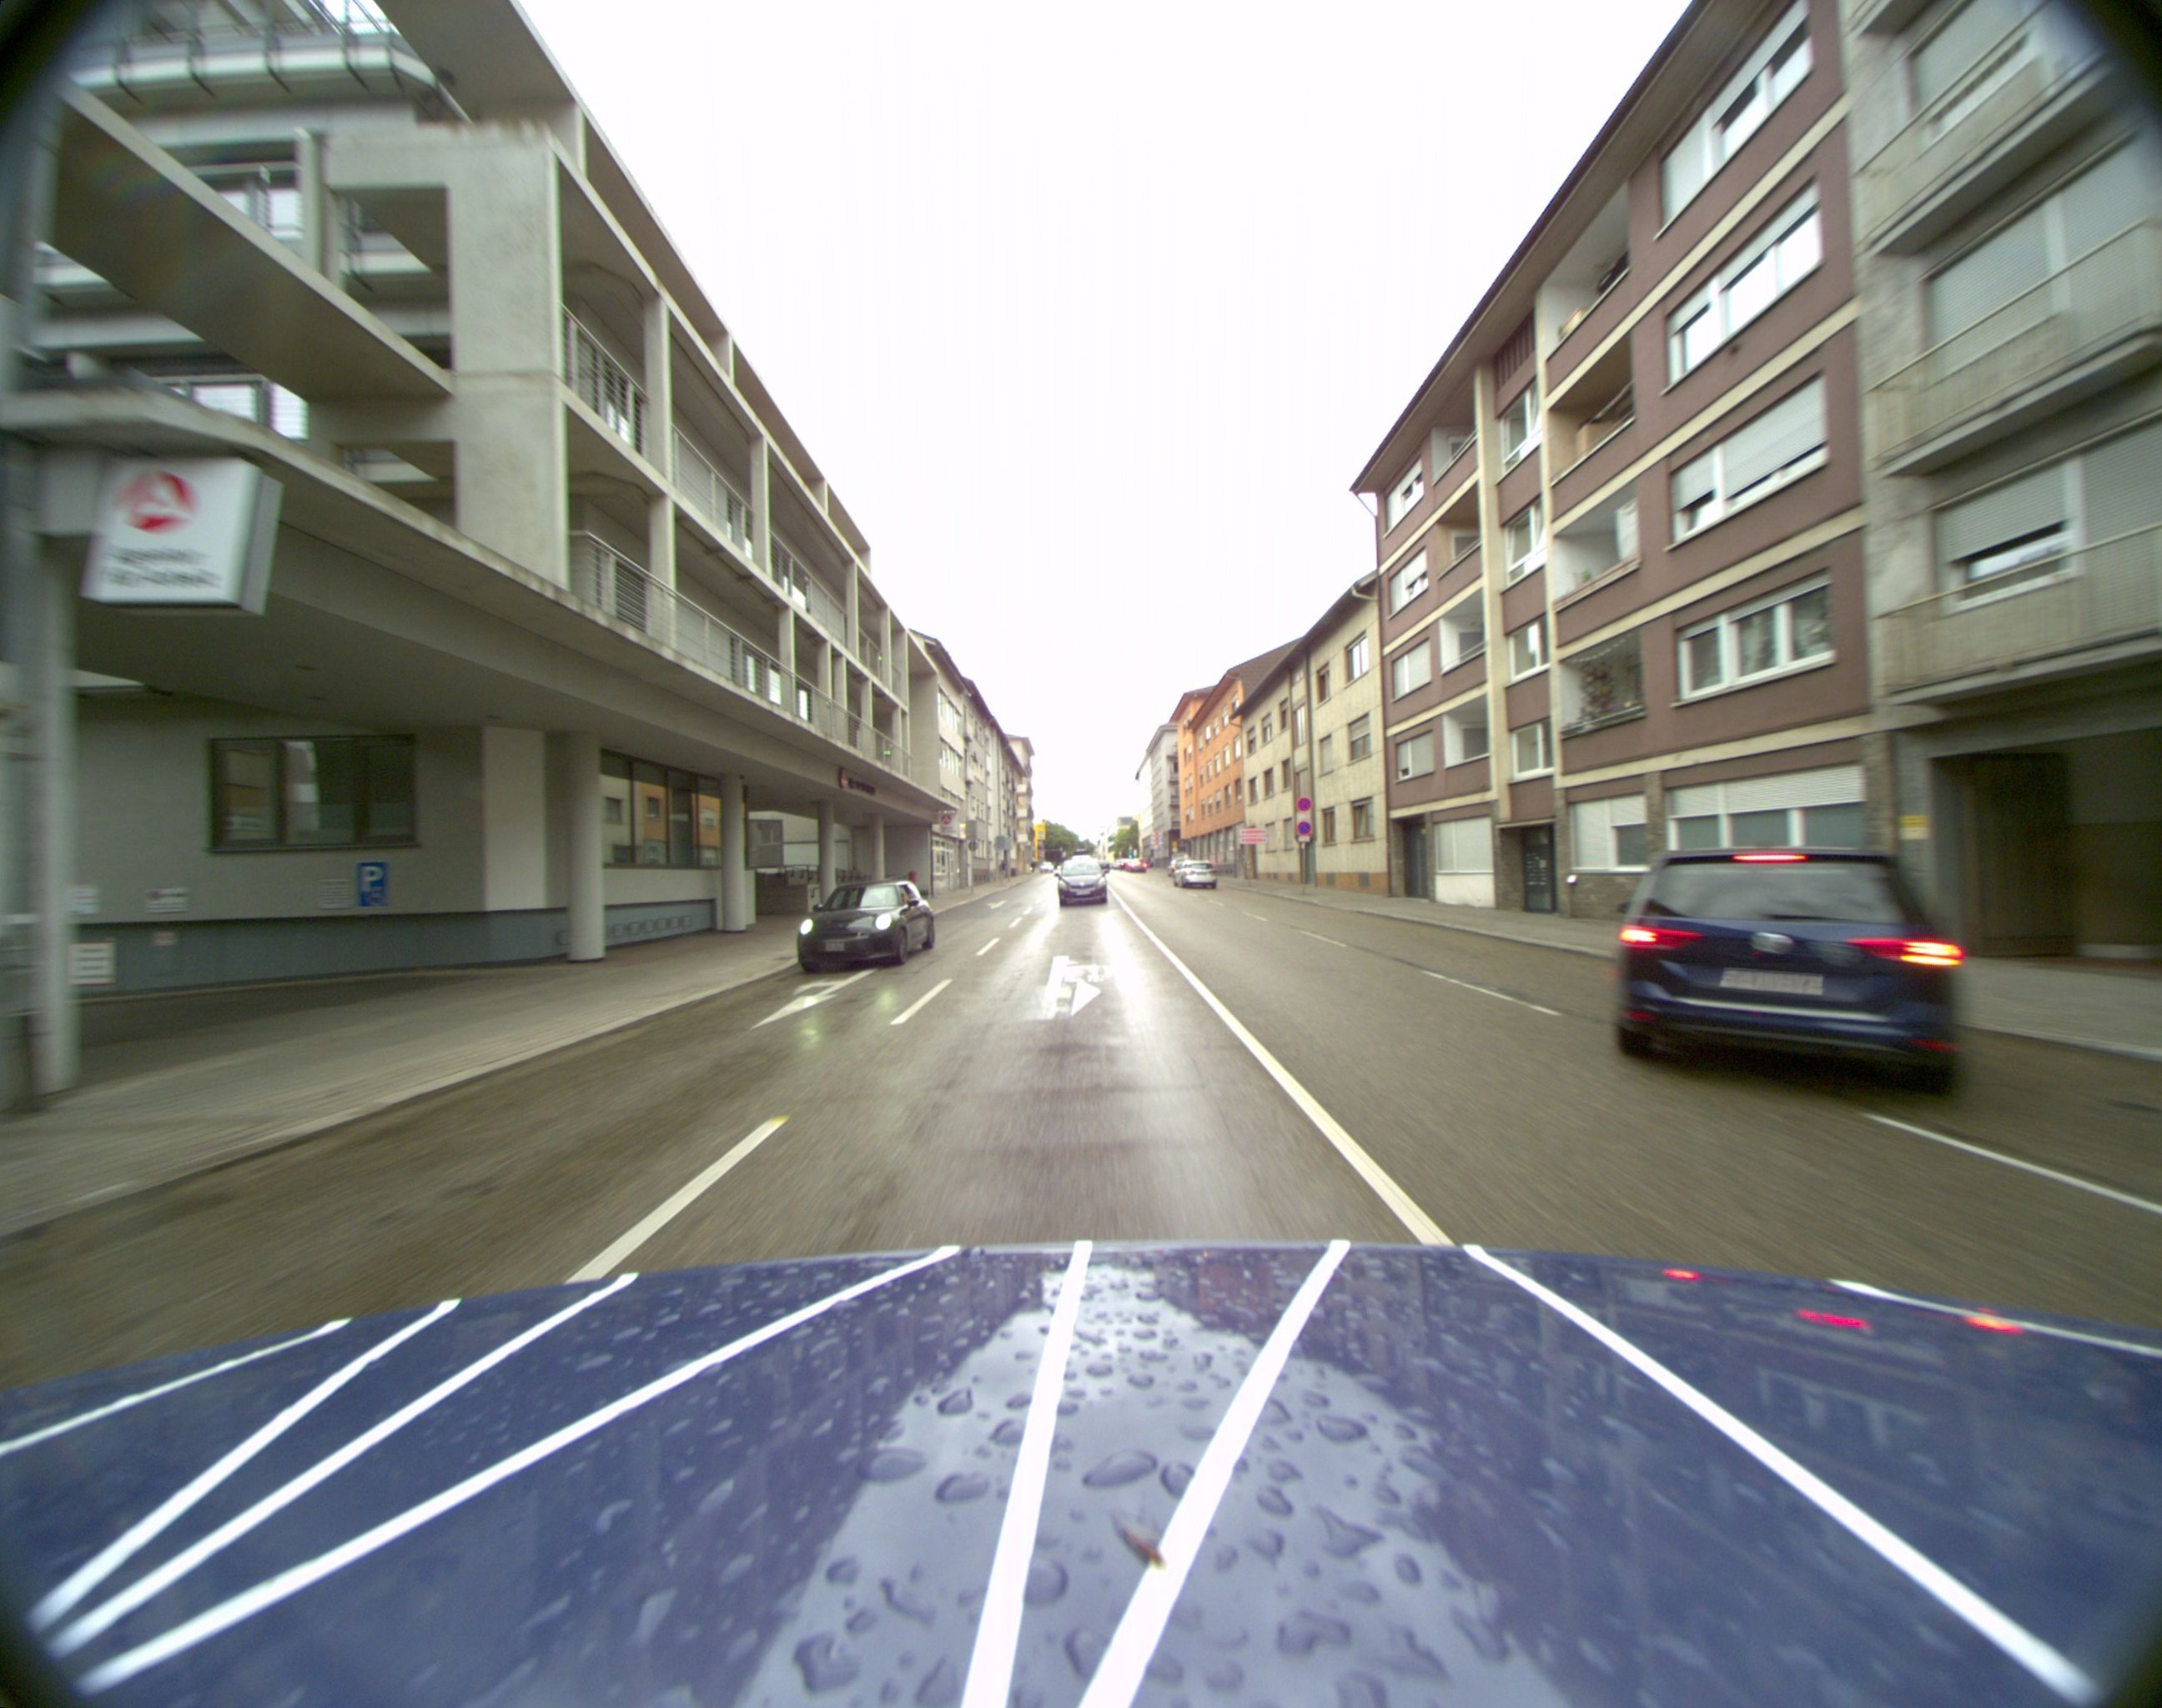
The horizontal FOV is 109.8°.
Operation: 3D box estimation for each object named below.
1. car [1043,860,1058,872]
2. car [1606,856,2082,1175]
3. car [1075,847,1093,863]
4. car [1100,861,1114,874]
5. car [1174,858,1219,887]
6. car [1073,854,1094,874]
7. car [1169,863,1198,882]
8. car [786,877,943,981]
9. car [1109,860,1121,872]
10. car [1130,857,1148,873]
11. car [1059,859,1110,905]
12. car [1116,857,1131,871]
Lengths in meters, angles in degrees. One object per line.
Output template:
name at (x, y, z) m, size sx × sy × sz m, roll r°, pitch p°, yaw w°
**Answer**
car at (-4.327, 1.672, 107.356) m, size 1.721 × 1.652 × 3.679 m, roll -3°, pitch 0°, yaw 2°
car at (5.660, 0.867, 6.249) m, size 1.994 × 1.566 × 4.317 m, roll -2°, pitch 0°, yaw 37°
car at (0.382, 0.097, 84.987) m, size 1.851 × 1.652 × 3.679 m, roll -3°, pitch 0°, yaw 2°
car at (3.481, 1.814, 102.055) m, size 1.721 × 1.652 × 3.679 m, roll -3°, pitch 0°, yaw 2°
car at (6.110, 0.945, 40.486) m, size 1.732 × 1.452 × 4.072 m, roll 1°, pitch 0°, yaw -1°
car at (0.250, 0.890, 67.839) m, size 1.721 × 1.652 × 3.679 m, roll -3°, pitch 0°, yaw 2°
car at (8.693, 1.523, 64.779) m, size 1.708 × 1.447 × 3.804 m, roll -3°, pitch 0°, yaw -3°
car at (-3.784, 1.241, 14.017) m, size 1.665 × 1.412 × 4.072 m, roll -4°, pitch 0°, yaw -1°
car at (5.010, 1.817, 113.259) m, size 1.721 × 1.652 × 3.679 m, roll -3°, pitch 0°, yaw 2°
car at (6.535, 1.243, 85.886) m, size 1.721 × 1.652 × 3.679 m, roll -3°, pitch 0°, yaw 2°
car at (0.105, 1.004, 28.779) m, size 1.732 × 1.472 × 4.072 m, roll -4°, pitch 0°, yaw -1°
car at (5.507, 1.311, 99.053) m, size 1.721 × 1.652 × 3.679 m, roll -3°, pitch 0°, yaw 2°
